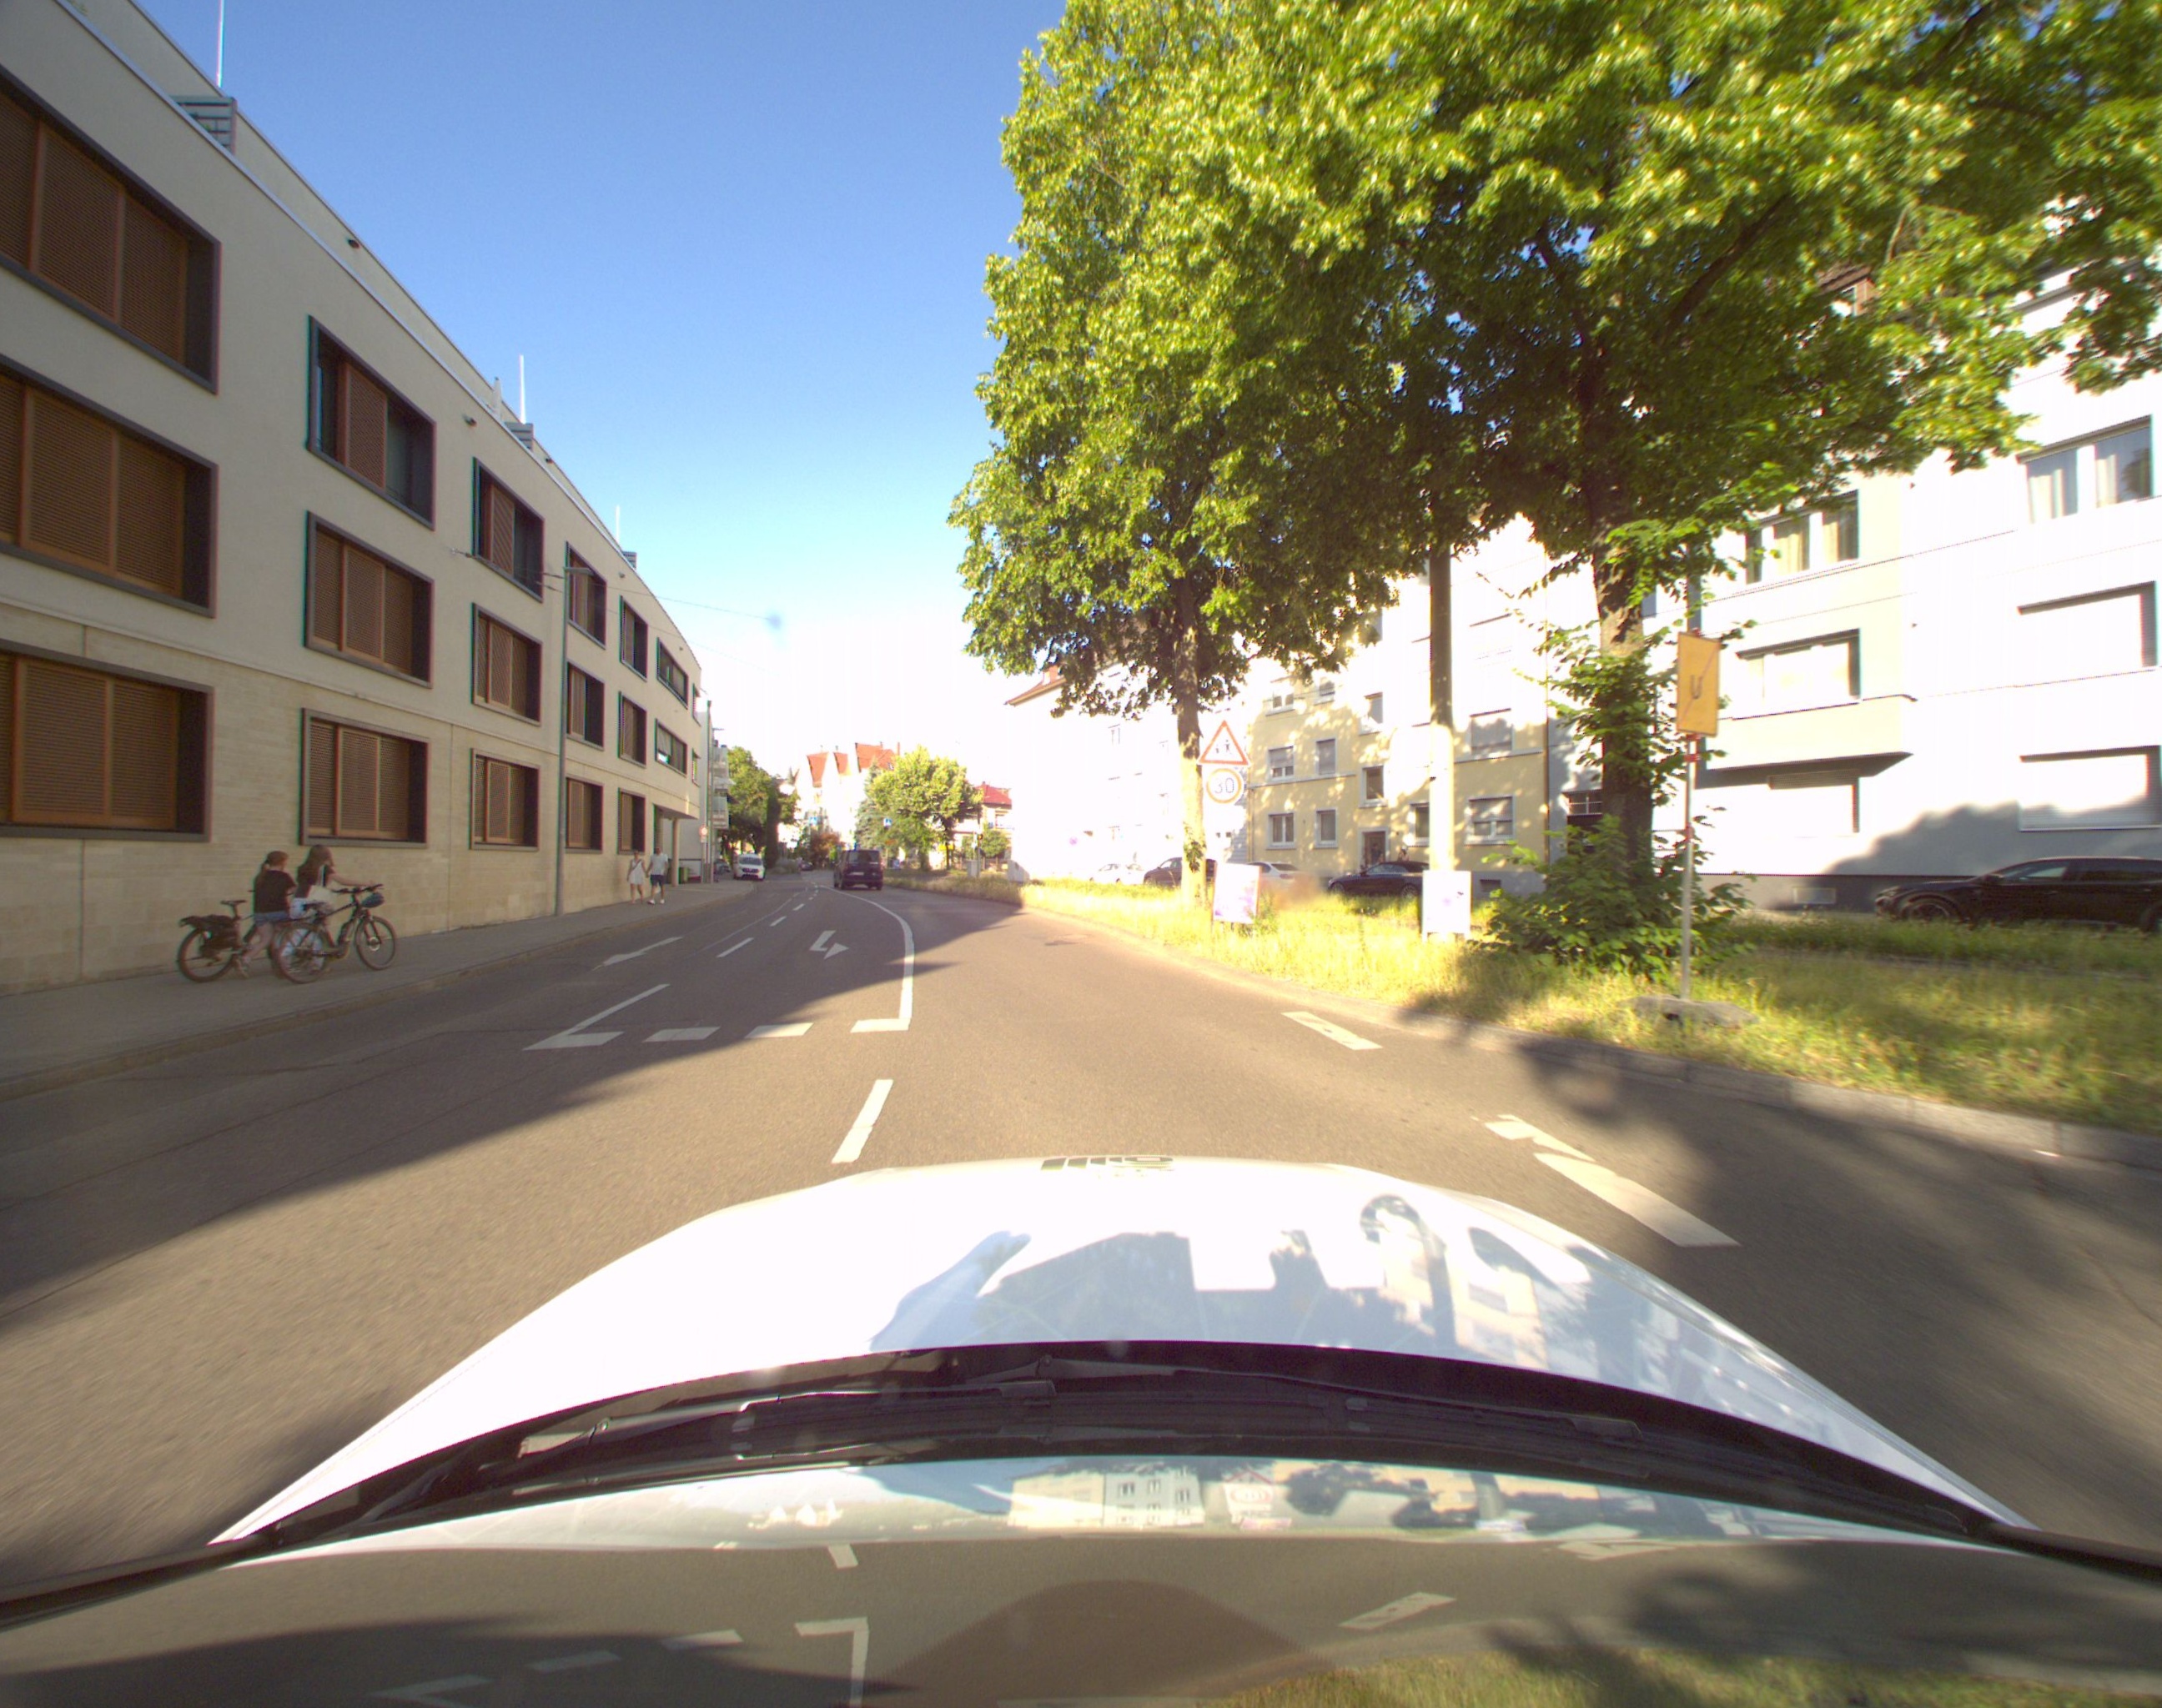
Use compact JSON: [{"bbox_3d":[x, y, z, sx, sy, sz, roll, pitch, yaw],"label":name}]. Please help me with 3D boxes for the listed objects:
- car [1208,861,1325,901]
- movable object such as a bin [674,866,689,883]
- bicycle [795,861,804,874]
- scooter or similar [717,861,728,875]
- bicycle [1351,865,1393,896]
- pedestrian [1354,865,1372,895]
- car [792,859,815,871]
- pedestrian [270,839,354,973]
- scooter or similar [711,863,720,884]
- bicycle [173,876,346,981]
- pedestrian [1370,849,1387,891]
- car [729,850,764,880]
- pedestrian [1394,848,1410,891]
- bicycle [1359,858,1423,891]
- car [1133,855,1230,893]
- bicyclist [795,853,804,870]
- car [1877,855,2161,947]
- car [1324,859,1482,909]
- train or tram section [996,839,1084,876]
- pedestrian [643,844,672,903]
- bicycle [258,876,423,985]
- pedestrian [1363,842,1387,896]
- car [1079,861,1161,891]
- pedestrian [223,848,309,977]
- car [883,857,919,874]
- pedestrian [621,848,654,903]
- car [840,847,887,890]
[{"bbox_3d":[7.160,0.984,31.879,2.006,1.386,4.403,0,0,-30],"label":"car"},{"bbox_3d":[-21.883,1.121,44.630,0.546,0.901,0.530,1,-1,0],"label":"movable object such as a bin"},{"bbox_3d":[-23.880,1.106,69.052,0.625,1.081,1.770,0,-1,-22],"label":"bicycle"},{"bbox_3d":[-32.266,1.251,73.280,0.512,1.229,1.523,2,-2,-39],"label":"scooter or similar"},{"bbox_3d":[11.036,1.010,30.964,0.538,1.131,1.501,0,-1,-30],"label":"bicycle"},{"bbox_3d":[10.126,0.945,29.265,0.434,1.065,0.457,1,-1,-29],"label":"pedestrian"},{"bbox_3d":[-37.500,1.515,109.938,2.007,1.596,3.958,2,-2,-33],"label":"car"},{"bbox_3d":[-9.756,0.645,10.347,0.473,1.647,0.601,1,0,-5],"label":"pedestrian"},{"bbox_3d":[-21.021,1.092,46.831,0.407,1.175,0.939,0,1,-26],"label":"scooter or similar"},{"bbox_3d":[-10.297,0.881,10.312,0.375,1.167,1.836,0,0,-2],"label":"bicycle"},{"bbox_3d":[10.800,0.582,29.571,0.334,1.515,0.438,-1,0,-34],"label":"pedestrian"},{"bbox_3d":[-22.375,0.744,54.410,1.820,1.870,4.296,3,-2,-25],"label":"car"},{"bbox_3d":[11.603,0.551,29.456,0.307,1.515,0.438,-1,0,-37],"label":"pedestrian"},{"bbox_3d":[11.102,0.734,29.265,0.537,1.131,2.286,0,-1,-30],"label":"bicycle"},{"bbox_3d":[4.445,0.887,36.835,2.006,1.572,4.596,0,-1,-30],"label":"car"},{"bbox_3d":[-23.878,0.651,69.029,0.625,1.380,0.795,0,-1,-23],"label":"bicyclist"},{"bbox_3d":[16.936,0.725,13.917,2.006,1.386,4.403,0,0,-30],"label":"car"},{"bbox_3d":[10.123,0.895,25.953,2.006,1.386,4.403,0,0,-30],"label":"car"},{"bbox_3d":[-3.935,0.368,81.243,2.749,3.555,9.981,0,-1,39],"label":"train or tram section"},{"bbox_3d":[-13.507,0.630,25.996,0.606,1.849,0.987,1,-2,-16],"label":"pedestrian"},{"bbox_3d":[-9.307,0.908,10.350,0.439,1.178,1.963,1,0,-5],"label":"bicycle"},{"bbox_3d":[11.188,0.559,30.995,0.615,2.014,0.643,1,-1,-30],"label":"pedestrian"},{"bbox_3d":[1.915,1.084,41.390,2.007,1.386,4.400,0,0,-33],"label":"car"},{"bbox_3d":[-10.279,0.714,10.290,0.473,1.565,0.601,-1,0,-5],"label":"pedestrian"},{"bbox_3d":[-16.527,1.044,74.824,1.947,1.505,3.695,-1,0,9],"label":"car"},{"bbox_3d":[-14.069,0.669,25.853,0.704,1.714,0.838,1,-2,-16],"label":"pedestrian"},{"bbox_3d":[-10.903,0.714,40.622,1.999,2.014,3.975,1,0,-19],"label":"car"}]
